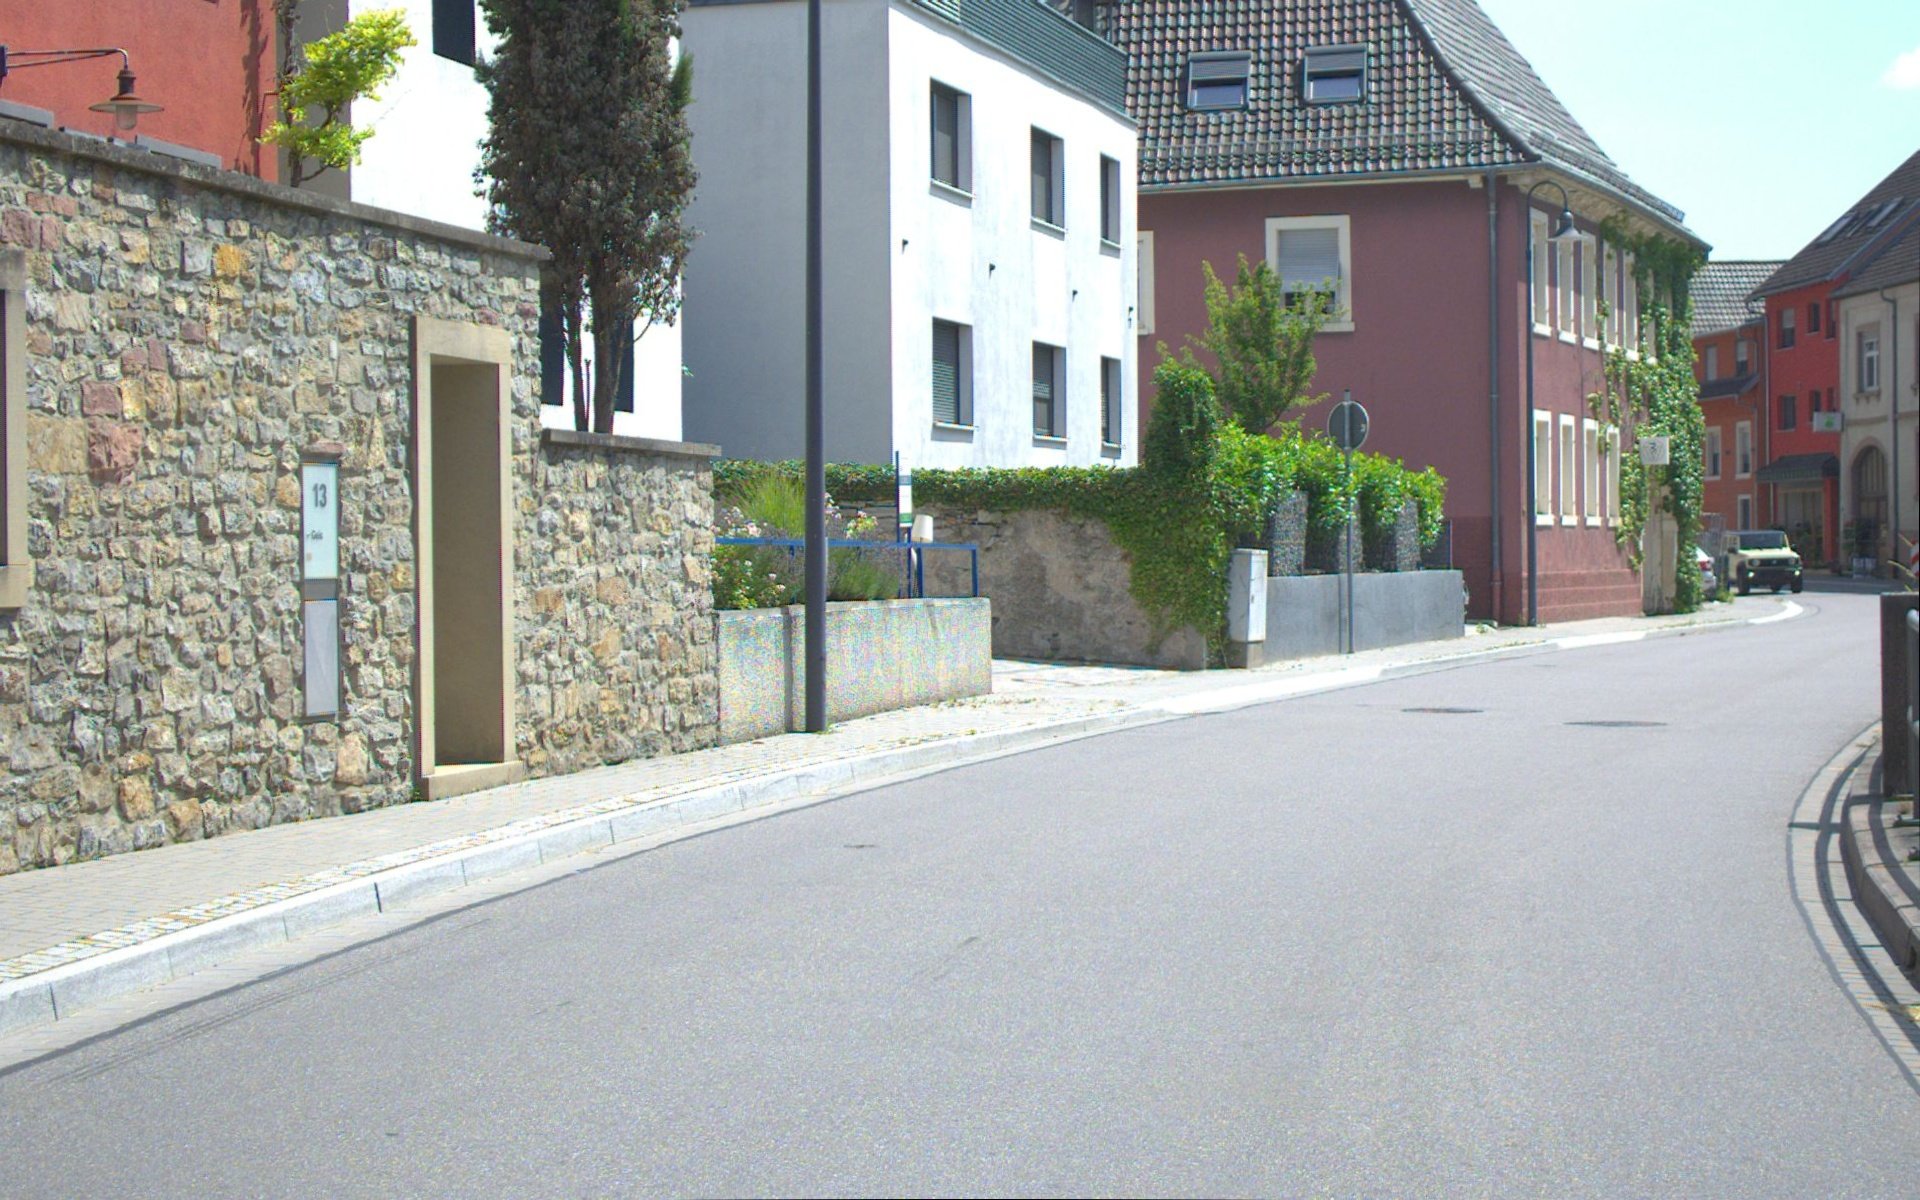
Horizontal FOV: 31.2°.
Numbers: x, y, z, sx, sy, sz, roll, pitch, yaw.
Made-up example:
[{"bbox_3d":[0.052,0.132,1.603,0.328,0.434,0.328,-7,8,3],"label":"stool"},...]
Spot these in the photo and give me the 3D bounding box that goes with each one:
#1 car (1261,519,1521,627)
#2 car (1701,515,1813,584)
[{"bbox_3d":[6.598,-0.439,52.606,3.569,1.401,1.650,4,3,21],"label":"car"},{"bbox_3d":[21.269,-1.340,91.834,1.621,1.713,3.474,-3,0,-9],"label":"car"}]
